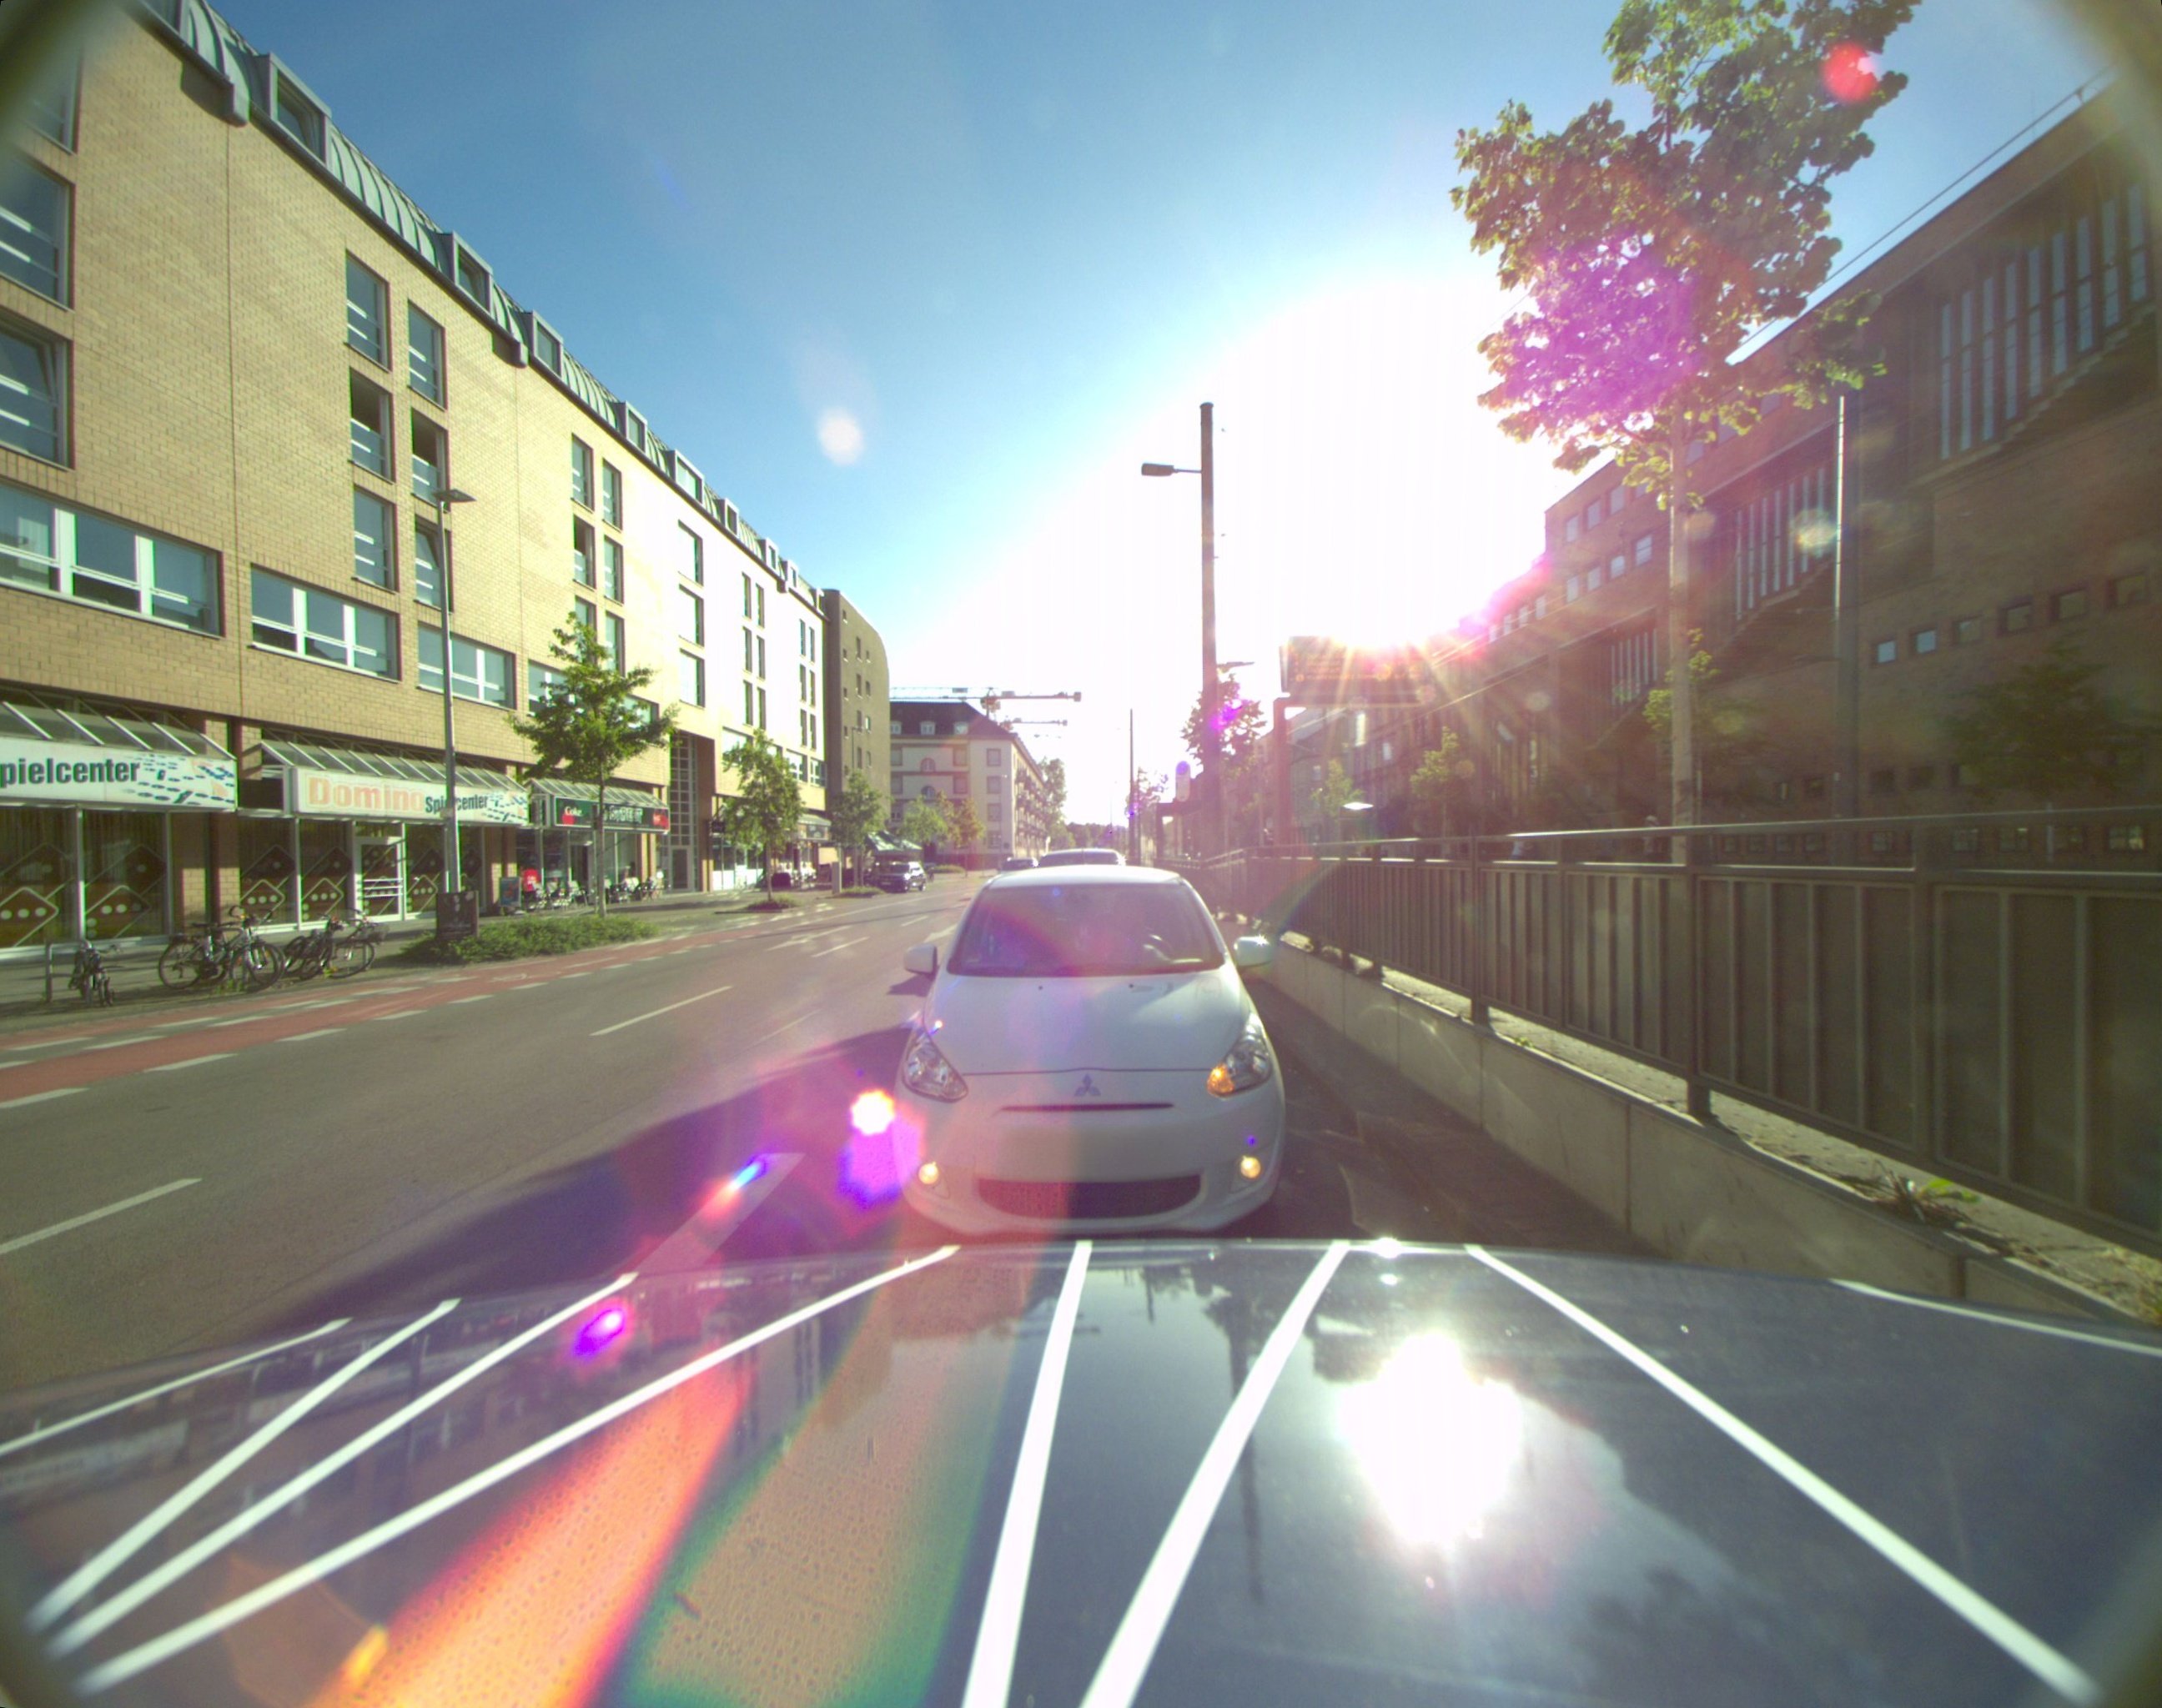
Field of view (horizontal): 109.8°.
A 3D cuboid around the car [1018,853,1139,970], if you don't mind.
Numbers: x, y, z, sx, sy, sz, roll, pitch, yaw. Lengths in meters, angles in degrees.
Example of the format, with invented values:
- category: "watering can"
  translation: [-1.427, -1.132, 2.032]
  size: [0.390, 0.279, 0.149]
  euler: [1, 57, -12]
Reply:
- category: "car"
  translation: [-0.039, 0.845, 13.286]
  size: [1.720, 1.591, 4.215]
  euler: [-2, 1, 0]

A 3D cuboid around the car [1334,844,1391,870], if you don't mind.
- category: "car"
  translation: [17.668, 0.145, 47.949]
  size: [1.830, 1.559, 4.693]
  euler: [0, 1, 0]

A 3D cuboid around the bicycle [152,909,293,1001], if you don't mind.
- category: "bicycle"
  translation: [-12.339, 1.421, 10.929]
  size: [1.835, 1.156, 0.565]
  euler: [1, 2, 15]

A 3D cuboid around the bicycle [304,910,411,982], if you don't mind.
- category: "bicycle"
  translation: [-11.914, 1.495, 12.512]
  size: [1.835, 1.050, 0.350]
  euler: [1, 2, 15]

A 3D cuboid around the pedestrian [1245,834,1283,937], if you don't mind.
- category: "pedestrian"
  translation: [4.432, 0.750, 18.436]
  size: [0.684, 2.428, 0.626]
  euler: [-2, 2, -2]

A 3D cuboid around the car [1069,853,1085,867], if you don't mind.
- category: "car"
  translation: [-0.519, 0.811, 105.219]
  size: [2.164, 1.904, 4.472]
  euler: [-2, 0, 0]

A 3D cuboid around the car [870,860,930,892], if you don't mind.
- category: "car"
  translation: [-9.841, 1.155, 41.637]
  size: [1.778, 1.630, 4.002]
  euler: [-1, 0, 9]

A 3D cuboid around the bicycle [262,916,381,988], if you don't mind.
- category: "bicycle"
  translation: [-12.037, 1.529, 12.043]
  size: [1.835, 0.980, 0.449]
  euler: [1, 2, 15]

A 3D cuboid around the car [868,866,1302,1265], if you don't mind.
- category: "car"
  translation: [0.018, 0.904, 5.218]
  size: [1.720, 1.422, 4.215]
  euler: [-2, 1, 0]

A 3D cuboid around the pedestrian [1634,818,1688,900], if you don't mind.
- category: "pedestrian"
  translation: [13.161, 0.111, 17.264]
  size: [0.685, 1.797, 0.668]
  euler: [-2, 2, 0]

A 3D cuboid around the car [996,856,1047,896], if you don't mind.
- category: "car"
  translation: [-2.631, 0.945, 34.509]
  size: [1.808, 1.586, 4.453]
  euler: [-3, 0, 1]

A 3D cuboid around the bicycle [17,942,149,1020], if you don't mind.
- category: "bicycle"
  translation: [-12.914, 1.625, 9.831]
  size: [1.772, 0.827, 0.366]
  euler: [1, 2, 15]
